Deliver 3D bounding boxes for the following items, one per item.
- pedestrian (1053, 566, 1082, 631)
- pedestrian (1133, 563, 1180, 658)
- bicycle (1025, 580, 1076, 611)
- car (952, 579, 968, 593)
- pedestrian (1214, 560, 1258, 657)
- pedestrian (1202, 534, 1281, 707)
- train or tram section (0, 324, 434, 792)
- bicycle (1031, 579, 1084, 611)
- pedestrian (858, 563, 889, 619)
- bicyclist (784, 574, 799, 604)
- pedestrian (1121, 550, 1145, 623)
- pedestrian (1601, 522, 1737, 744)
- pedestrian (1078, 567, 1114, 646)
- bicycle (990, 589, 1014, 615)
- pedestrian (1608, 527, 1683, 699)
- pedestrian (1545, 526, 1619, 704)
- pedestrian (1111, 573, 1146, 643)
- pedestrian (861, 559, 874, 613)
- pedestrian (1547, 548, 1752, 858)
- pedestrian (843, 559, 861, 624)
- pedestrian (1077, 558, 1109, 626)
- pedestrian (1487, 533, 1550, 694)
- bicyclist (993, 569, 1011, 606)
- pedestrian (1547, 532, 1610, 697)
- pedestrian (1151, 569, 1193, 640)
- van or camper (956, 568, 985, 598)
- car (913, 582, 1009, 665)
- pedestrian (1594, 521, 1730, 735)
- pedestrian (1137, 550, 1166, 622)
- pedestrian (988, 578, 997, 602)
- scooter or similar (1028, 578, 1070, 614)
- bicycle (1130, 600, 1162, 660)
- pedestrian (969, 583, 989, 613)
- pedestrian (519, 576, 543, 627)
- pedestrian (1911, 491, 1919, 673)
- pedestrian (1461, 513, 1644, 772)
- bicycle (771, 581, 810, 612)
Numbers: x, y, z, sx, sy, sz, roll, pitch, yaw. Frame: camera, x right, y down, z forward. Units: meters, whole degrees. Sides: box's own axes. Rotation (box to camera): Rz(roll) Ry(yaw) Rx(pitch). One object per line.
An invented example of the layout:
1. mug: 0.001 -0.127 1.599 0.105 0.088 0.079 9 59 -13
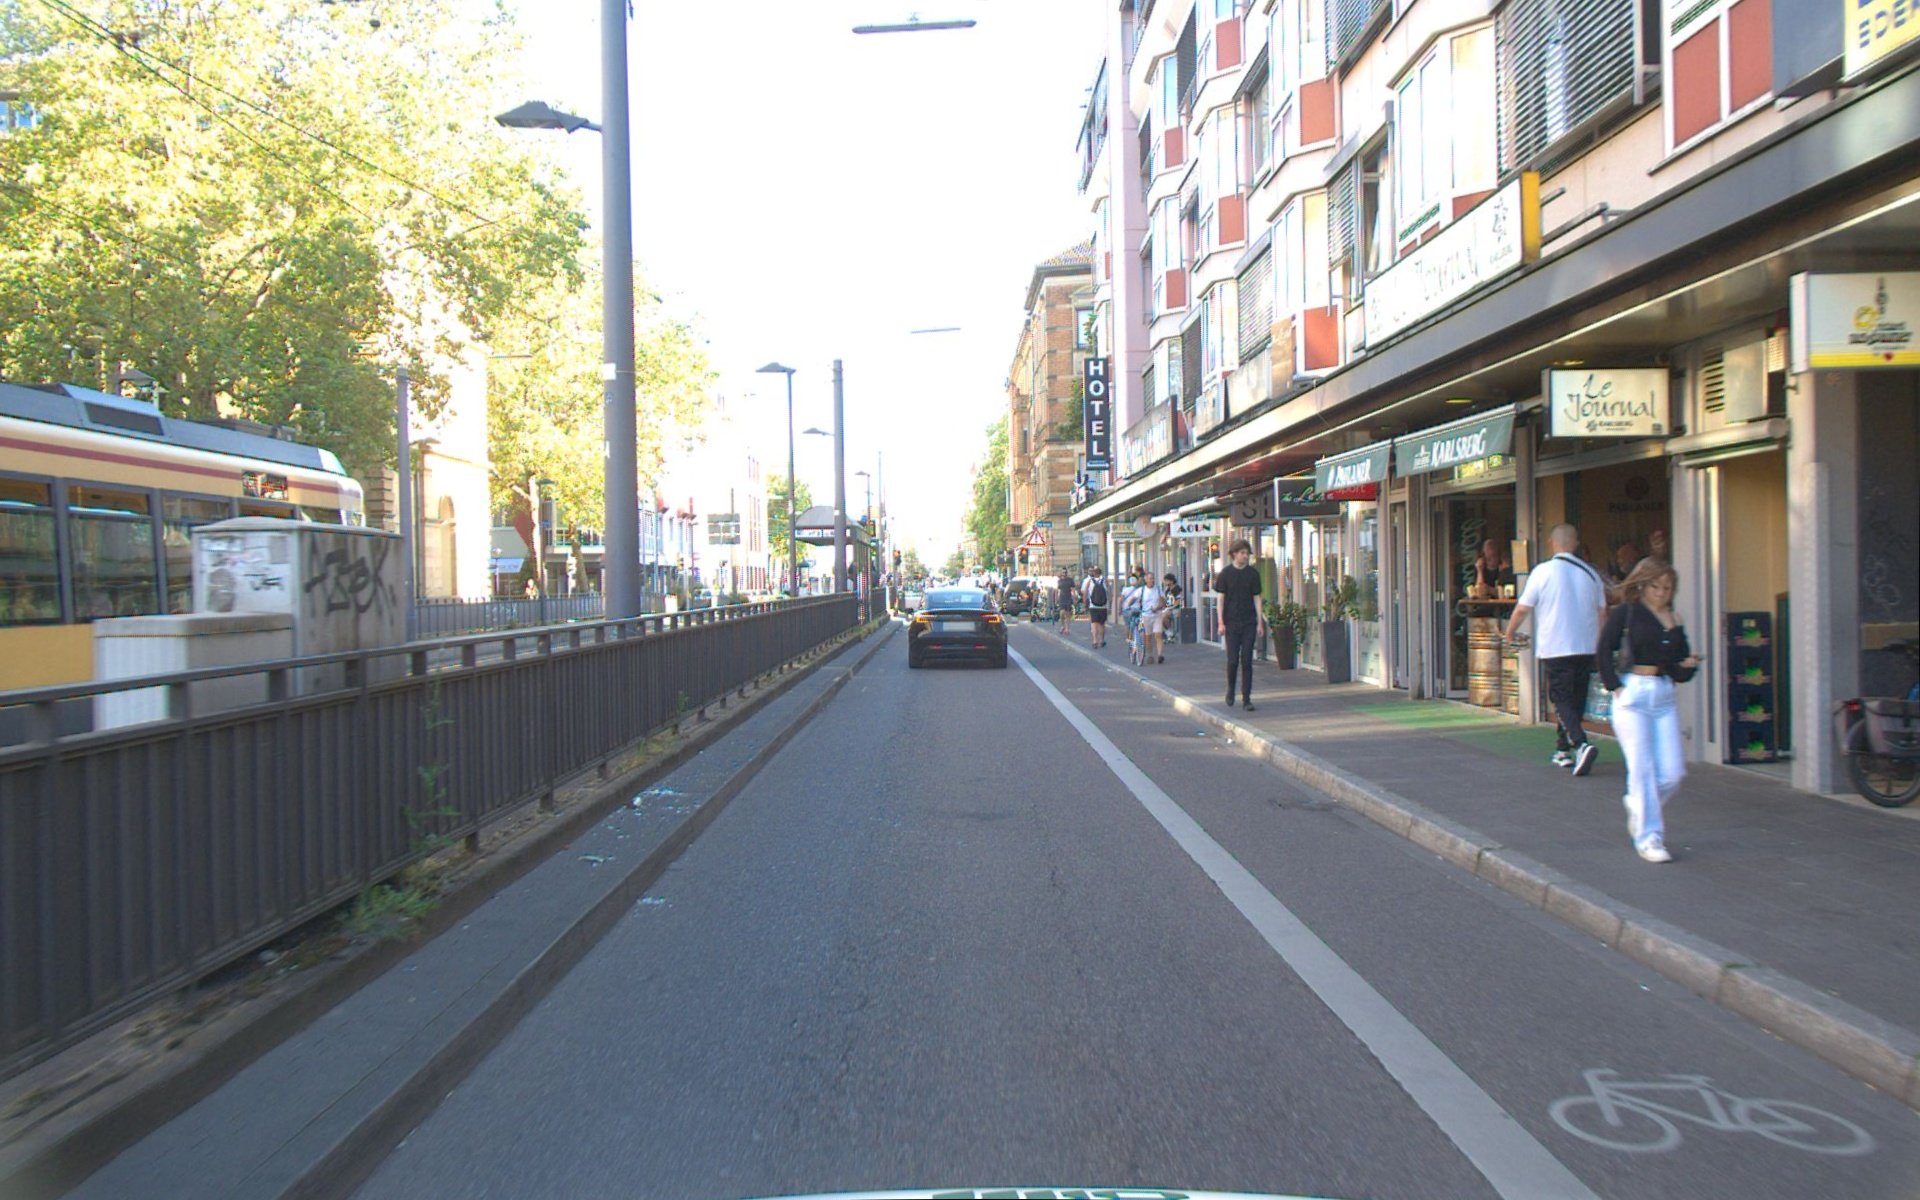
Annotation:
1. pedestrian: 3.011 -0.035 46.371 0.654 1.758 0.810 -4 0 -1
2. pedestrian: 3.545 0.185 29.862 0.649 1.658 0.705 -3 1 -2
3. bicycle: 3.492 -0.189 64.149 1.906 1.126 0.564 -2 1 -3
4. car: -0.021 -1.566 188.190 1.676 1.482 4.549 0 0 -1
5. pedestrian: 4.682 0.137 28.064 0.588 1.617 0.553 -2 1 -1
6. pedestrian: 3.220 0.222 18.994 0.661 1.893 0.992 -3 1 1
7. train or tram section: -9.087 -0.409 15.872 2.913 3.708 16.486 0 1 0
8. bicycle: 3.613 -0.179 61.474 1.906 1.126 0.564 -2 1 -3
9. pedestrian: -2.926 -0.296 55.828 0.762 1.863 0.796 0 0 -31
10. bicyclist: -8.694 -0.573 85.201 0.668 1.543 0.632 -1 1 -16
11. pedestrian: 4.557 -0.353 43.676 0.442 1.881 0.811 -3 1 -2
12. pedestrian: 5.567 0.251 13.017 0.712 1.664 0.639 -3 1 1
13. pedestrian: 3.028 0.135 36.973 0.729 1.757 0.814 0 0 0
14. bicycle: 1.947 0.081 77.050 0.636 1.159 2.090 -1 1 -11
15. pedestrian: 6.630 0.120 16.019 0.509 1.635 0.542 -1 1 5
16. pedestrian: 5.935 0.133 15.795 0.505 1.661 0.522 -1 1 4
17. pedestrian: 3.784 0.173 37.207 0.623 1.509 0.654 -4 0 -2
18. pedestrian: -2.955 -0.442 52.824 0.344 1.698 0.529 -1 1 -2
19. pedestrian: 3.688 0.523 8.899 0.652 1.547 0.788 -4 1 -5
20. pedestrian: -2.696 -0.213 41.347 0.415 1.601 0.448 -1 1 -1
21. pedestrian: 3.742 -0.235 46.616 0.691 1.851 0.763 -4 1 -1
22. pedestrian: 5.754 0.133 17.052 0.446 1.631 0.530 -1 1 -1
23. bicyclist: 1.934 -0.591 77.050 0.643 1.684 0.925 -1 0 -11
24. pedestrian: 6.227 0.137 16.663 0.446 1.631 0.464 -1 1 2
25. pedestrian: 4.655 0.091 36.358 0.723 1.497 0.707 -4 0 0
26. van or camper: 0.703 -1.178 117.152 1.892 2.072 5.474 0 0 -1
27. car: -0.032 0.397 30.910 1.685 1.430 3.709 0 1 -2
28. pedestrian: 5.881 0.222 13.891 0.757 1.703 0.696 -3 1 0
29. pedestrian: 4.889 -0.358 42.276 0.616 1.800 0.501 -2 1 0
30. pedestrian: 2.517 -0.804 128.782 0.659 1.845 0.756 -1 0 -2
31. scooter or similar: 3.283 -0.157 60.813 1.448 1.250 0.591 -3 1 -1
32. bicycle: 3.346 0.528 29.789 0.296 1.007 1.760 -2 1 -1
33. pedestrian: 1.042 -0.109 90.153 0.828 1.575 0.697 -1 1 35
34. pedestrian: -17.218 0.059 66.353 0.686 2.049 0.690 -1 1 10
35. pedestrian: 5.272 0.303 8.150 0.774 1.751 0.588 -4 1 -19
36. pedestrian: 4.430 0.297 12.445 0.888 1.806 1.050 -4 1 -1
37. bicycle: -8.746 -0.173 85.194 1.916 1.543 0.632 -1 1 -15
